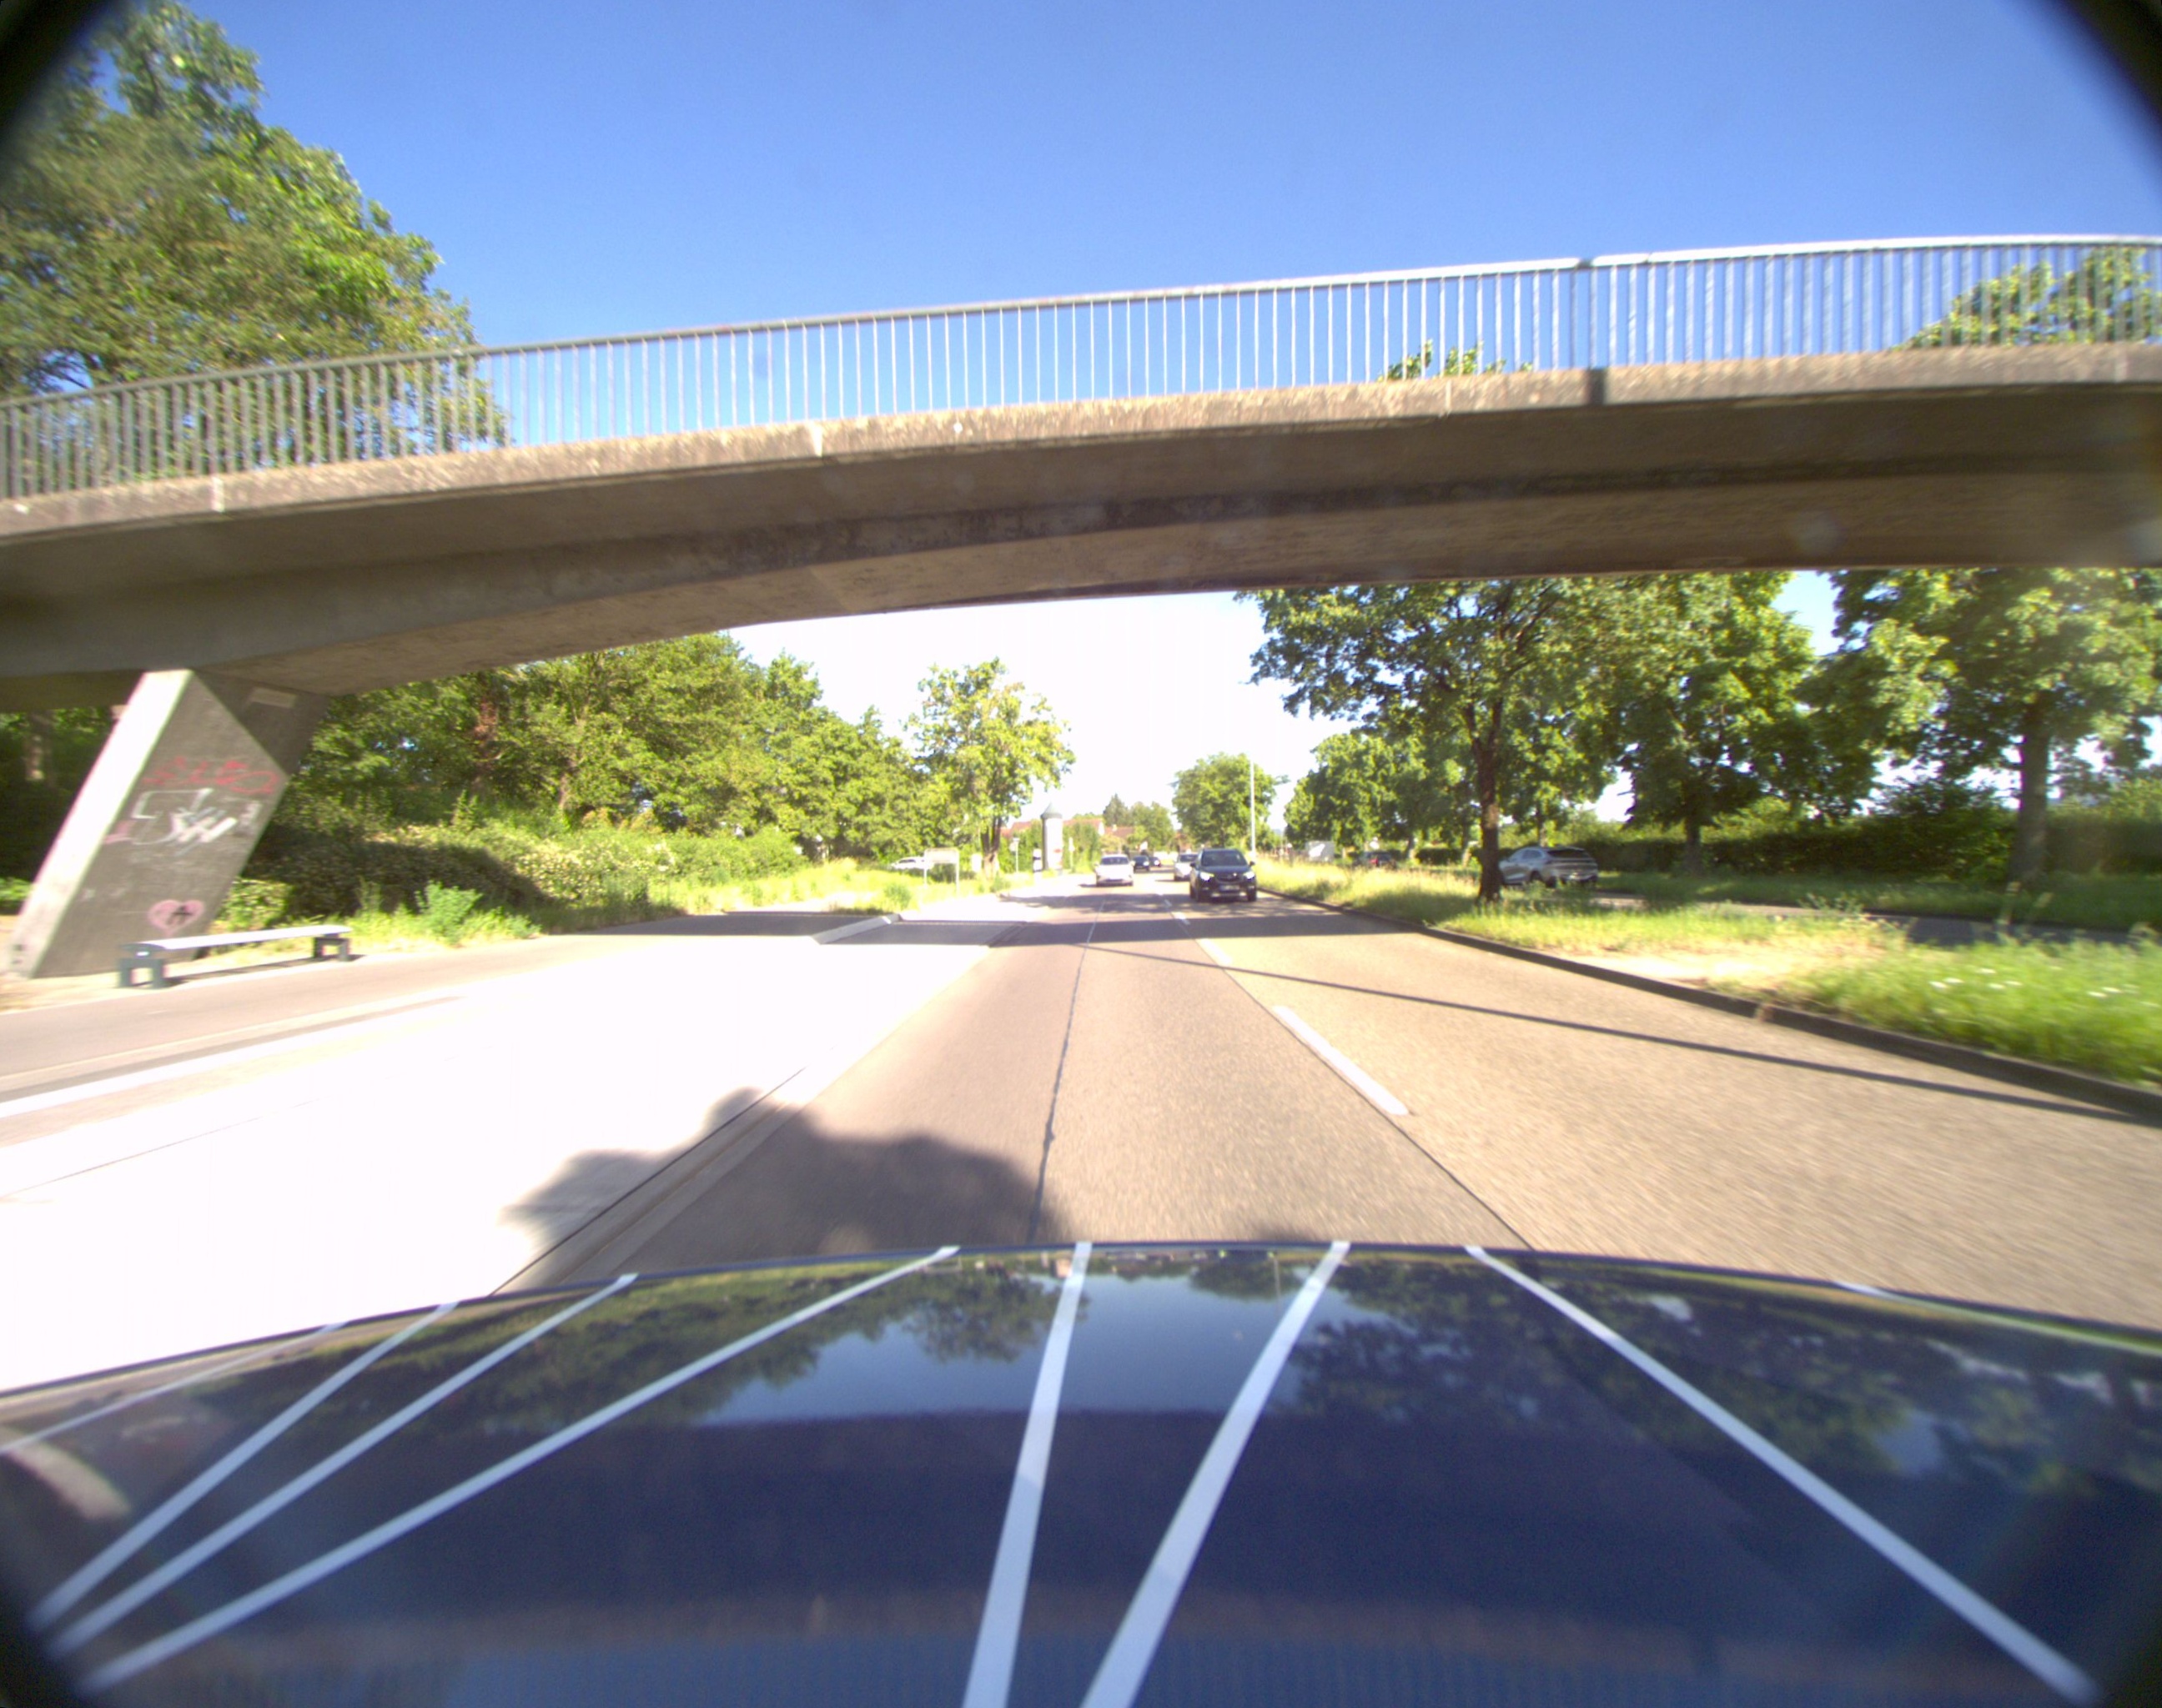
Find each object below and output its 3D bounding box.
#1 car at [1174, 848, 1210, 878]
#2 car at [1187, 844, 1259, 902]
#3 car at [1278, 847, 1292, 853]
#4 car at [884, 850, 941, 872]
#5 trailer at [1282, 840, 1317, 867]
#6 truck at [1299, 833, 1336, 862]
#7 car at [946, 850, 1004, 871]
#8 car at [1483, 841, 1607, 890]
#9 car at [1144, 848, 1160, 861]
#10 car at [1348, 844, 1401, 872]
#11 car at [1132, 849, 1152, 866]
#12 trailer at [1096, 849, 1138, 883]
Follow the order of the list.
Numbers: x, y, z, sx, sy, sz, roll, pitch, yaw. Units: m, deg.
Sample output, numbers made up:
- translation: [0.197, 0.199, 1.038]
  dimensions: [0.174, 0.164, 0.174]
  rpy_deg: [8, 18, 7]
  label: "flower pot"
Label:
- translation: [6.157, 0.454, 42.315]
  dimensions: [1.822, 1.553, 4.649]
  rpy_deg: [-2, 0, 7]
  label: "car"
- translation: [4.430, 0.523, 24.268]
  dimensions: [1.810, 1.605, 4.515]
  rpy_deg: [-1, 1, 5]
  label: "car"
- translation: [48.628, -0.903, 181.436]
  dimensions: [1.693, 1.428, 4.950]
  rpy_deg: [1, 1, 34]
  label: "car"
- translation: [-15.105, 0.664, 68.369]
  dimensions: [4.525, 1.857, 2.073]
  rpy_deg: [-1, -1, 10]
  label: "car"
- translation: [16.573, -0.043, 57.851]
  dimensions: [1.566, 1.899, 4.283]
  rpy_deg: [-1, 0, 3]
  label: "trailer"
- translation: [21.208, -0.598, 68.394]
  dimensions: [2.176, 2.498, 5.745]
  rpy_deg: [1, 1, 8]
  label: "truck"
- translation: [-9.385, 0.606, 67.507]
  dimensions: [4.638, 1.791, 1.934]
  rpy_deg: [-1, -1, 10]
  label: "car"
- translation: [17.016, 0.372, 28.205]
  dimensions: [1.736, 1.637, 4.900]
  rpy_deg: [0, 1, 2]
  label: "car"
- translation: [9.115, 0.064, 97.458]
  dimensions: [1.822, 1.587, 4.275]
  rpy_deg: [-2, 0, 8]
  label: "car"
- translation: [18.474, 0.240, 48.073]
  dimensions: [1.753, 1.611, 4.579]
  rpy_deg: [-1, 0, 3]
  label: "car"
- translation: [6.102, 0.336, 75.677]
  dimensions: [1.823, 1.553, 4.273]
  rpy_deg: [-2, 1, 5]
  label: "car"
- translation: [1.903, 0.598, 38.873]
  dimensions: [1.896, 1.585, 4.002]
  rpy_deg: [-2, 0, 5]
  label: "trailer"
